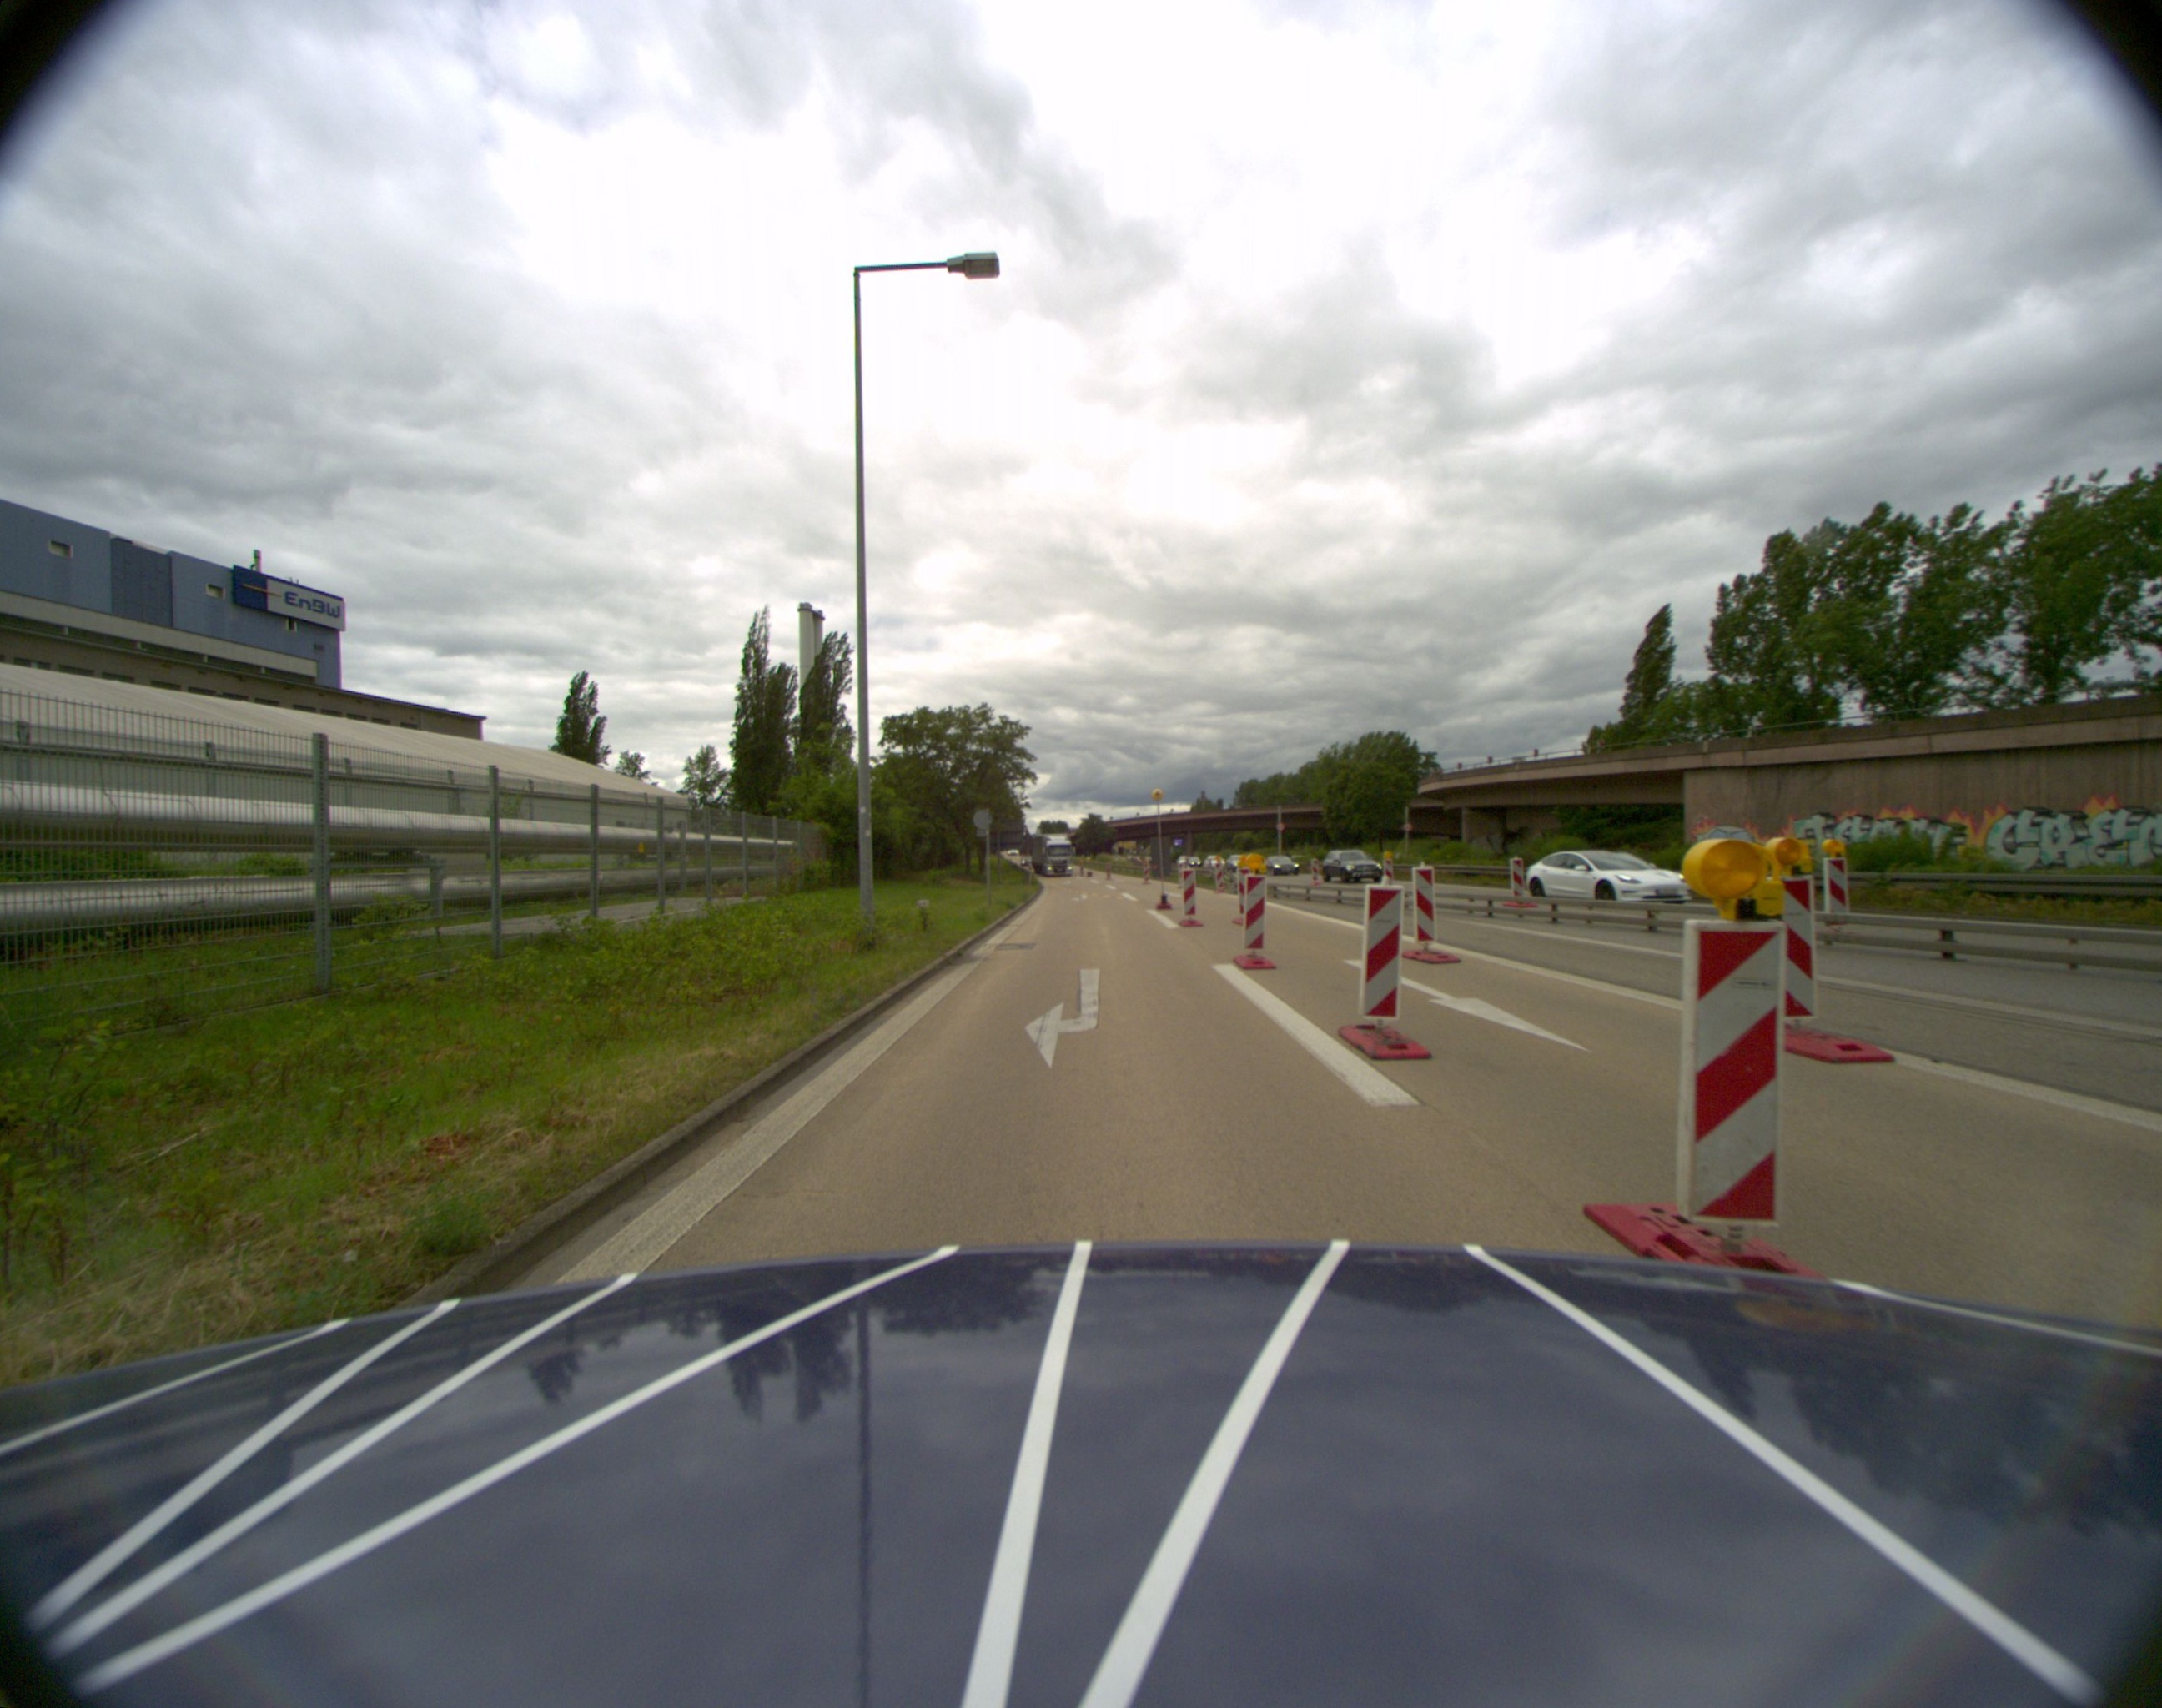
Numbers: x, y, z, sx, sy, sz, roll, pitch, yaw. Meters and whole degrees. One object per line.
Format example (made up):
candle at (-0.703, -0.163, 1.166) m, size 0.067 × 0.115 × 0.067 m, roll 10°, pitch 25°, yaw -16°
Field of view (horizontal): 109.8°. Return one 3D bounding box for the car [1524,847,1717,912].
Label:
car at (13.984, 0.590, 20.098) m, size 1.998 × 1.533 × 4.460 m, roll 0°, pitch 0°, yaw 1°

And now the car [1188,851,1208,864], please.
car at (14.897, 0.403, 96.970) m, size 1.998 × 1.585 × 4.292 m, roll 0°, pitch 0°, yaw 1°

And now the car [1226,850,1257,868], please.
car at (14.336, 0.444, 68.030) m, size 1.802 × 1.503 × 3.998 m, roll 0°, pitch 1°, yaw -1°

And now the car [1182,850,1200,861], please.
car at (15.638, 0.197, 108.421) m, size 1.998 × 1.585 × 4.292 m, roll 0°, pitch 0°, yaw 1°

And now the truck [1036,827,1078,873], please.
truck at (-2.425, -0.330, 73.656) m, size 3.164 × 4.106 × 8.136 m, roll -3°, pitch 0°, yaw -7°

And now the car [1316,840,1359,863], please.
car at (19.926, -0.208, 59.114) m, size 1.859 × 1.631 × 4.291 m, roll -2°, pitch 0°, yaw 0°

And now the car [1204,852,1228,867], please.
car at (14.733, 0.535, 82.922) m, size 1.998 × 1.585 × 4.000 m, roll 0°, pitch 0°, yaw 1°

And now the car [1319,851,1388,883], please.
car at (13.943, 0.632, 39.116) m, size 1.980 × 1.502 × 4.291 m, roll -2°, pitch 0°, yaw 0°

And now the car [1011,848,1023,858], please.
car at (-12.384, -0.184, 146.194) m, size 1.993 × 1.851 × 3.937 m, roll 0°, pitch 0°, yaw -10°

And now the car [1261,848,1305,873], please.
car at (14.519, 0.439, 54.843) m, size 1.936 × 1.693 × 3.998 m, roll 0°, pitch 0°, yaw -3°

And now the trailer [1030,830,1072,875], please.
trailer at (-3.404, -0.118, 81.294) m, size 3.166 × 4.298 × 13.255 m, roll -3°, pitch 0°, yaw -7°
